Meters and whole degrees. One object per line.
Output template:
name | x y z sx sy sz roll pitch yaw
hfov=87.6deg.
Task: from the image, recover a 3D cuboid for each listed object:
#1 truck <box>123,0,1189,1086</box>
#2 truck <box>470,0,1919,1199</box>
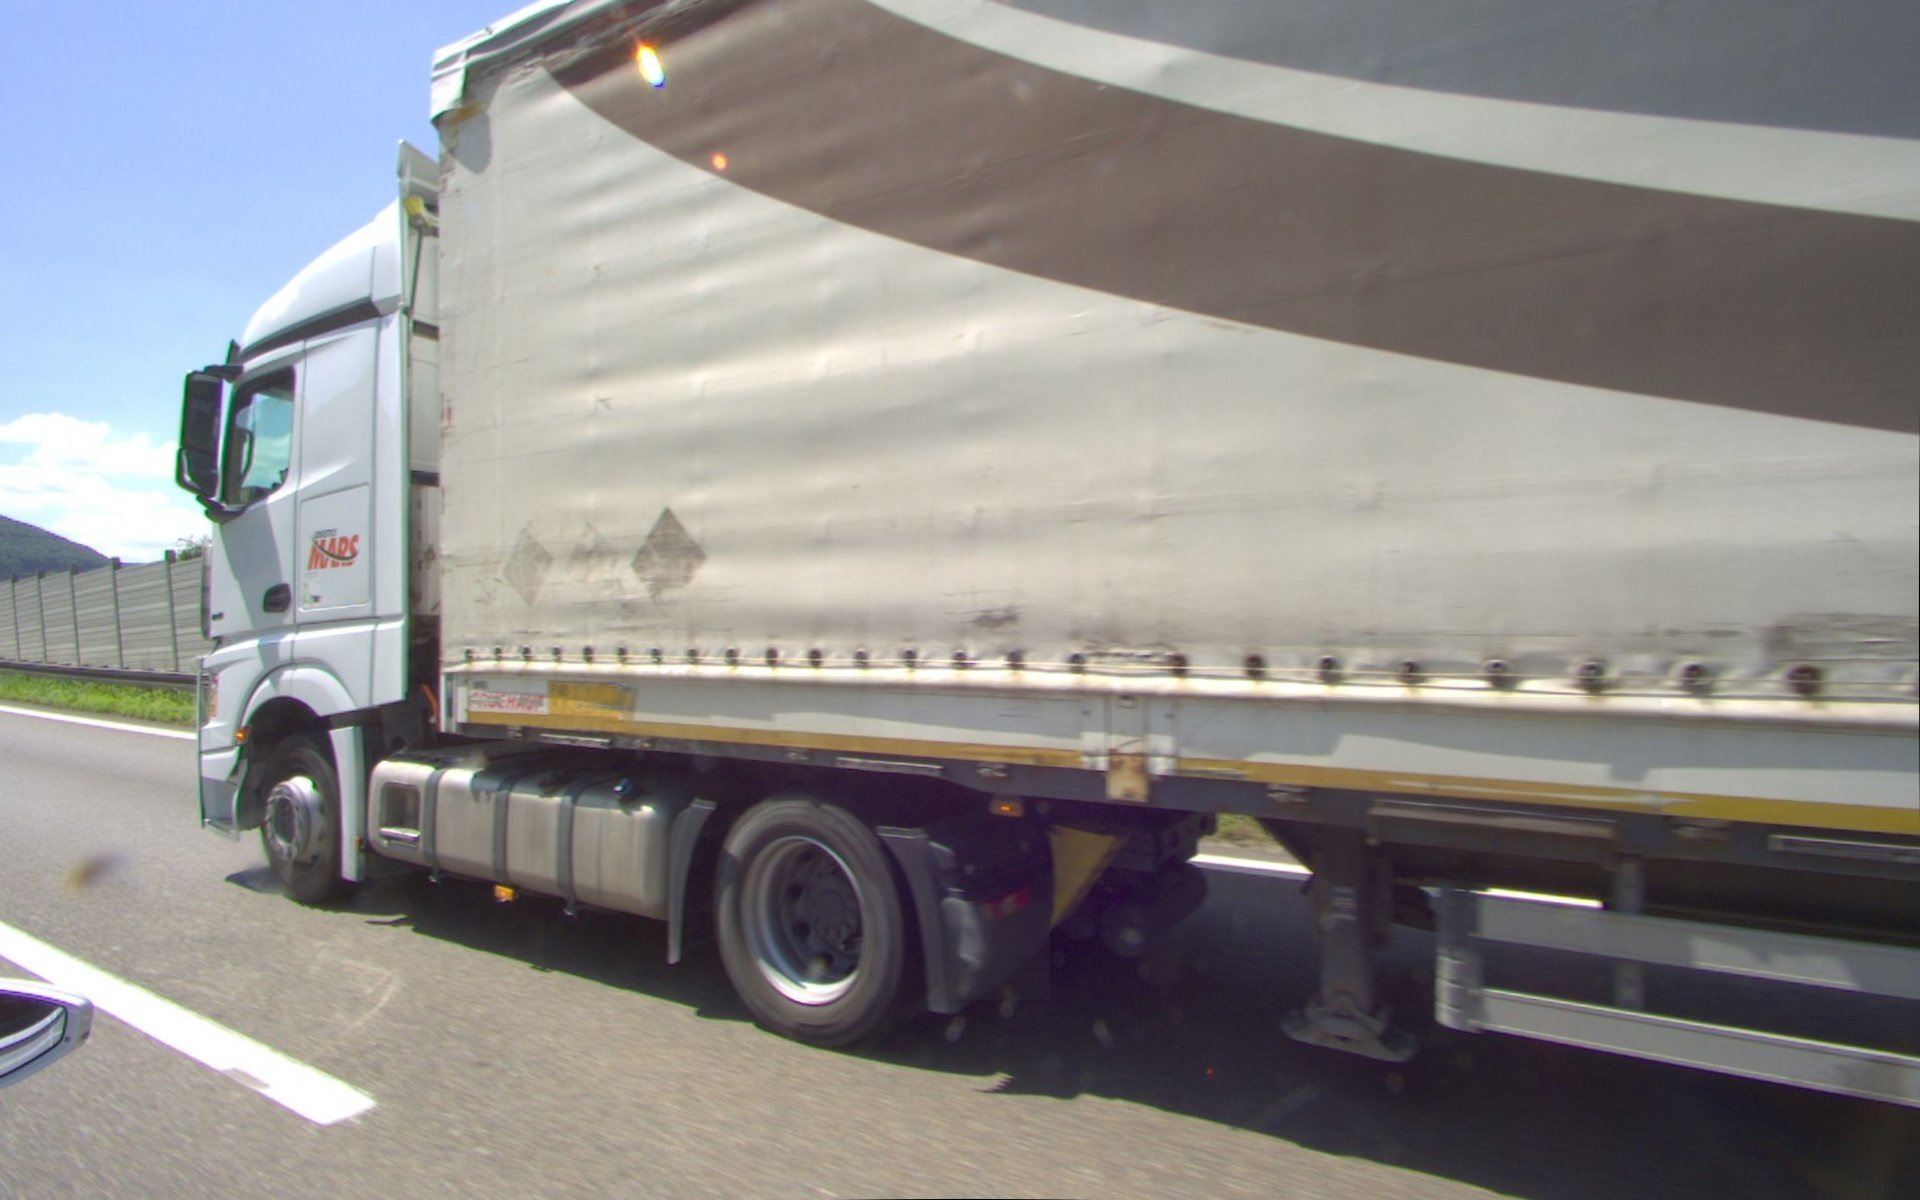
truck | -1.880 -0.451 5.745 5.669 4.120 2.716 -1 -1 30
truck | 4.436 -0.633 2.060 13.537 4.120 2.723 -2 -1 30
